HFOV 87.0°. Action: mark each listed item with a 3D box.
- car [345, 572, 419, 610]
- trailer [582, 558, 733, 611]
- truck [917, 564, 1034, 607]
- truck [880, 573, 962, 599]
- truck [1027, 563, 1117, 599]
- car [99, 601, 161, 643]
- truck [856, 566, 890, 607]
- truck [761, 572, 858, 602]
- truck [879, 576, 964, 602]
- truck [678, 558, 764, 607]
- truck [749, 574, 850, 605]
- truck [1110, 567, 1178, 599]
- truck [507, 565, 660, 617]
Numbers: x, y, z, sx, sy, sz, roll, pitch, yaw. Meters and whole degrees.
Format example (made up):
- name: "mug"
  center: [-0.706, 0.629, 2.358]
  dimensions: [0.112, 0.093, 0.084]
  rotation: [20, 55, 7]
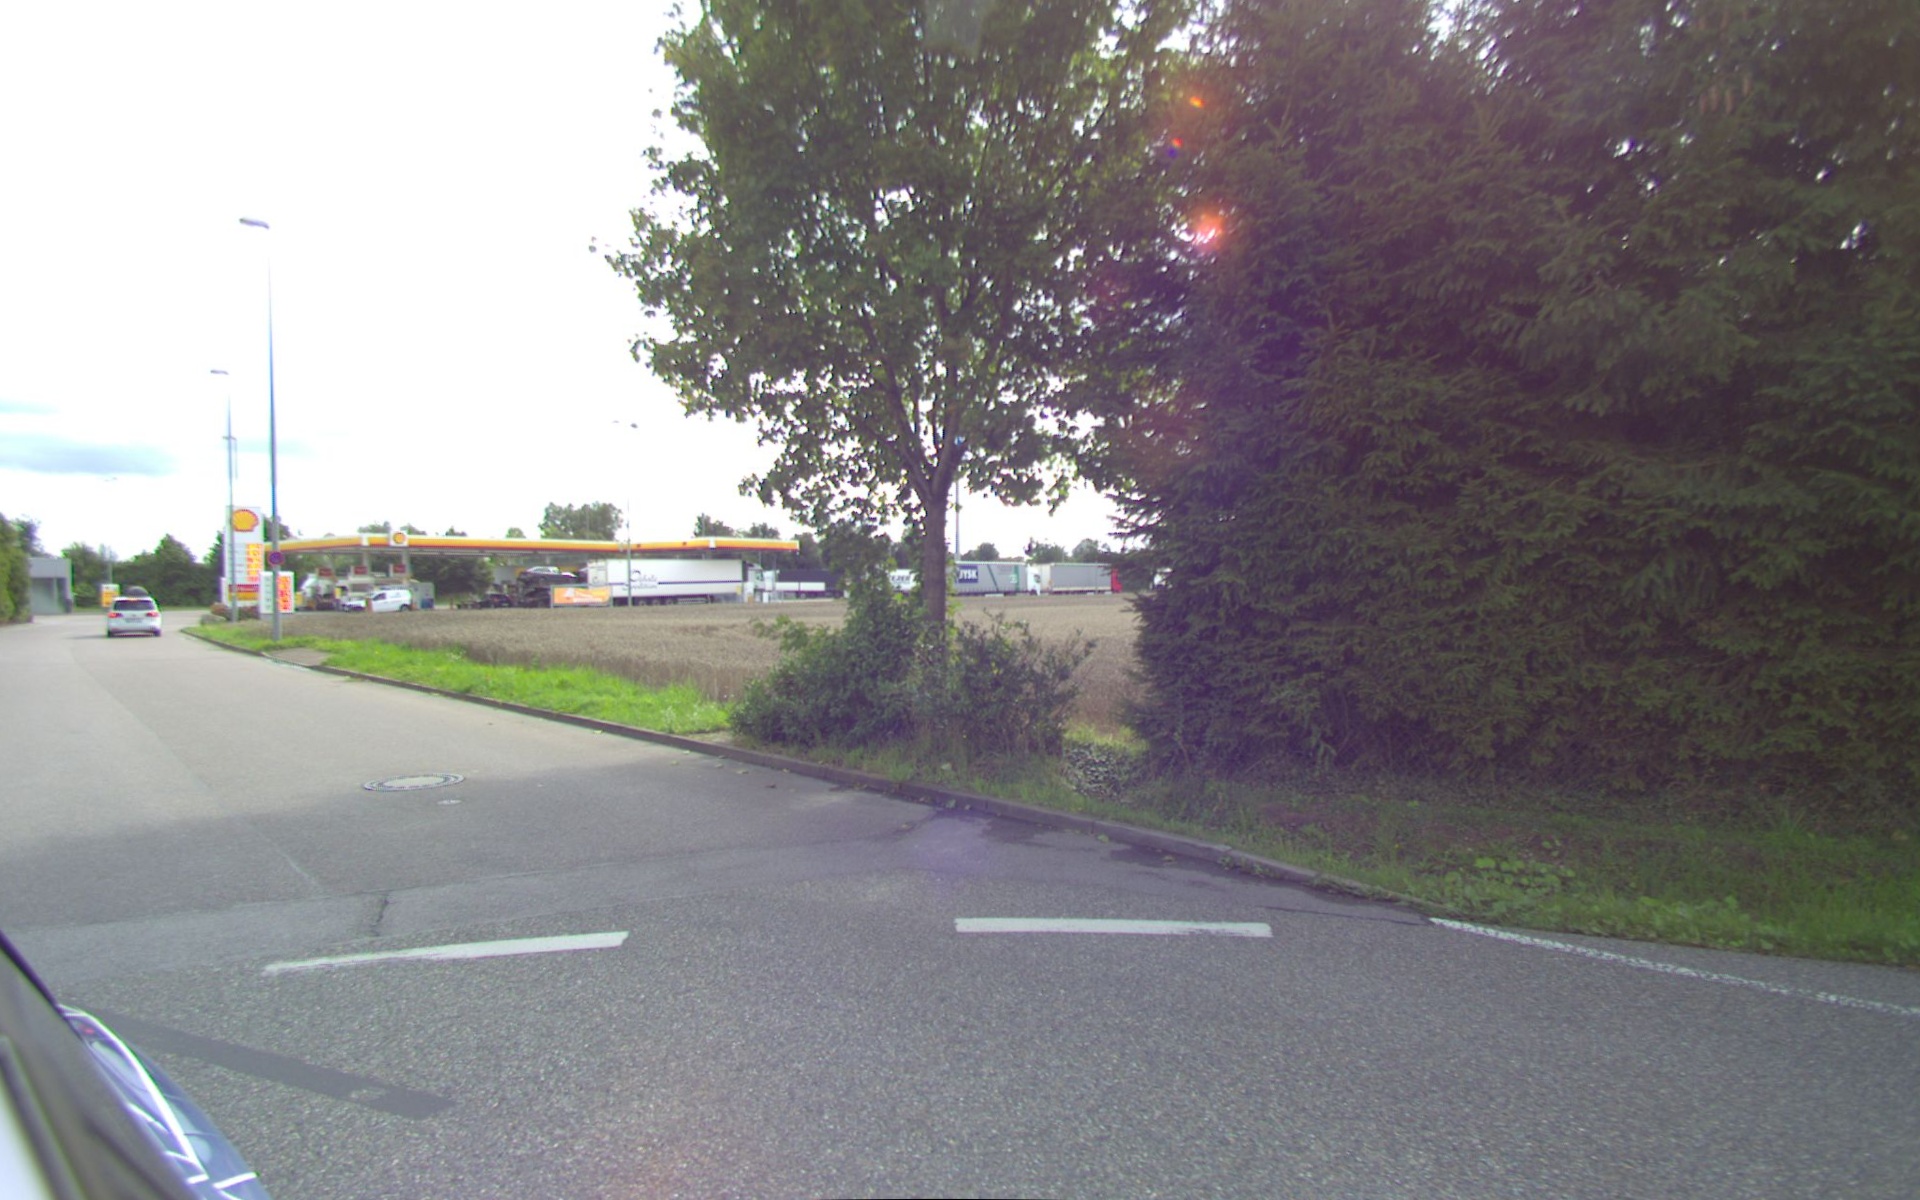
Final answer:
- name: "car"
  center: [-45.837, -0.716, 80.430]
  dimensions: [2.197, 2.808, 5.799]
  rotation: [-1, 0, 5]
- name: "trailer"
  center: [-24.406, -1.268, 82.655]
  dimensions: [2.708, 4.055, 12.687]
  rotation: [-1, 1, 37]
- name: "truck"
  center: [1.839, -1.495, 100.740]
  dimensions: [2.822, 3.922, 15.256]
  rotation: [1, 2, 40]
- name: "truck"
  center: [-6.140, -2.235, 159.088]
  dimensions: [12.606, 3.922, 2.829]
  rotation: [0, 1, -8]
- name: "truck"
  center: [13.009, -2.196, 115.453]
  dimensions: [2.820, 3.922, 15.269]
  rotation: [1, 1, 37]
- name: "car"
  center: [-34.681, 0.890, 42.254]
  dimensions: [1.679, 1.678, 4.035]
  rotation: [1, 0, -44]
- name: "truck"
  center: [-9.492, -1.510, 109.269]
  dimensions: [2.916, 4.143, 14.775]
  rotation: [0, 1, -8]
- name: "truck"
  center: [-20.188, -1.787, 136.499]
  dimensions: [12.811, 3.922, 2.829]
  rotation: [0, 1, -6]
- name: "truck"
  center: [-5.816, -1.686, 153.095]
  dimensions: [12.606, 3.922, 2.829]
  rotation: [0, 1, -8]
- name: "truck"
  center: [-20.624, -1.476, 87.725]
  dimensions: [2.708, 4.055, 7.079]
  rotation: [-1, 1, 37]
- name: "truck"
  center: [-20.537, -1.383, 129.598]
  dimensions: [12.606, 3.922, 2.829]
  rotation: [0, 1, -8]
- name: "truck"
  center: [23.643, -2.241, 129.292]
  dimensions: [2.822, 3.922, 12.639]
  rotation: [1, 1, 40]
- name: "truck"
  center: [-30.439, -0.833, 82.887]
  dimensions: [2.741, 3.953, 13.126]
  rotation: [1, 1, 29]
